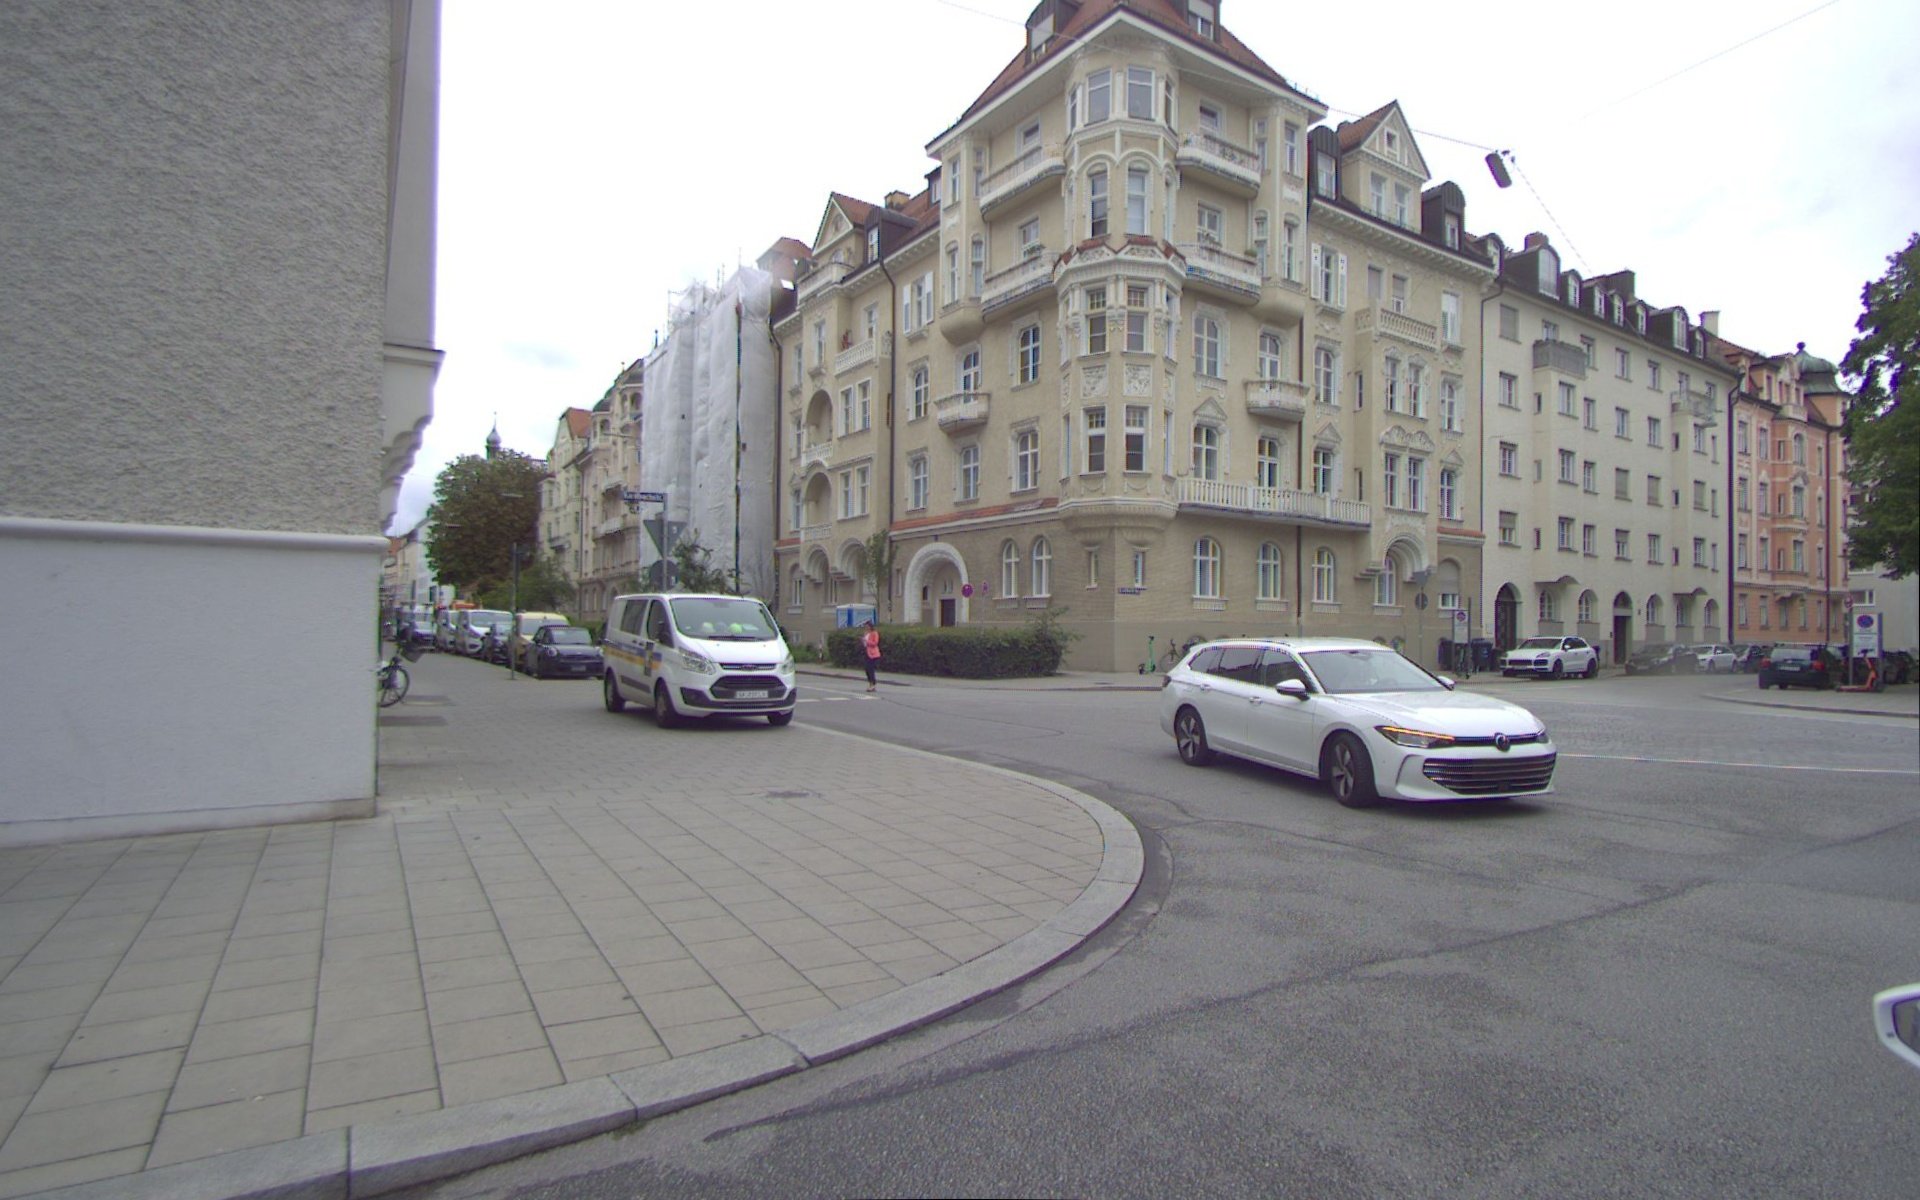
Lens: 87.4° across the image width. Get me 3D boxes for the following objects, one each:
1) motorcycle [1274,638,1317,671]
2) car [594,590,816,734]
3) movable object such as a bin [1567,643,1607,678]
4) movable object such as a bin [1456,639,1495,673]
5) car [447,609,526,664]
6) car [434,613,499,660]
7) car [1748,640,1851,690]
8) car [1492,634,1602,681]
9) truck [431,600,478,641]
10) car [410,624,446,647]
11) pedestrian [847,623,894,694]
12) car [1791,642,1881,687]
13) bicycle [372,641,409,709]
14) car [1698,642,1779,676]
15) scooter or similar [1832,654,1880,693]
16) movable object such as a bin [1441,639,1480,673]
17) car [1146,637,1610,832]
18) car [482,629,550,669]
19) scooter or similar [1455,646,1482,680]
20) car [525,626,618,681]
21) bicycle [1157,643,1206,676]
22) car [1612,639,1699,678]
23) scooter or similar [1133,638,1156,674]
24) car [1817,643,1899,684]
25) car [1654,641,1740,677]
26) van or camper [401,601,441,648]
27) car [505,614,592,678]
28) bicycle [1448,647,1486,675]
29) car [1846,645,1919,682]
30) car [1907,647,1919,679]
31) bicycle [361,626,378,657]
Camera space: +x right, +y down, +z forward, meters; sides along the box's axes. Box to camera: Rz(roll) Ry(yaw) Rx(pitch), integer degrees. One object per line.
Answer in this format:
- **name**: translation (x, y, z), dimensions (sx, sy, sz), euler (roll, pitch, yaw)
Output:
- **motorcycle**: translation (12.461, 2.015, 37.278), dimensions (1.812, 1.191, 0.594), euler (2, -2, -36)
- **car**: translation (-4.181, 0.888, 15.830), dimensions (1.905, 1.905, 4.866), euler (2, -2, -33)
- **movable object such as a bin**: translation (26.612, 2.556, 42.641), dimensions (1.161, 1.444, 1.085), euler (2, -2, -33)
- **movable object such as a bin**: translation (22.452, 2.428, 43.726), dimensions (1.161, 1.444, 1.085), euler (2, -2, -33)
- **car**: translation (-19.252, 1.475, 40.736), dimensions (2.104, 2.119, 4.775), euler (2, -2, -35)
- **car**: translation (-22.561, 1.647, 45.815), dimensions (2.102, 2.020, 4.779), euler (2, -2, -33)
- **car**: translation (27.482, 2.088, 32.823), dimensions (4.386, 1.525, 1.804), euler (2, -3, -40)
- **car**: translation (23.207, 2.255, 39.658), dimensions (4.793, 1.723, 1.962), euler (2, -2, -35)
- **truck**: translation (-48.158, 1.971, 95.594), dimensions (3.156, 3.671, 8.657), euler (2, -2, -32)
- **car**: translation (-32.469, 2.167, 61.277), dimensions (1.678, 1.364, 3.509), euler (2, -2, -32)
- **pedestrian**: translation (-2.142, 1.387, 24.035), dimensions (0.849, 1.657, 0.724), euler (2, -2, -41)
- **car**: translation (31.527, 2.279, 36.117), dimensions (4.199, 1.525, 1.779), euler (2, -3, -40)
- **bicycle**: translation (-9.662, 1.238, 17.011), dimensions (0.486, 1.063, 1.815), euler (2, -2, -31)
- **car**: translation (39.871, 3.014, 51.430), dimensions (4.361, 1.602, 1.964), euler (2, -1, -33)
- **scooter or similar**: translation (26.368, 2.162, 29.580), dimensions (0.984, 1.103, 0.390), euler (0, -1, 29)
- **movable object such as a bin**: translation (21.460, 2.394, 43.080), dimensions (1.161, 1.444, 1.085), euler (2, -2, -33)
- **car**: translation (3.905, 1.164, 10.519), dimensions (1.860, 1.467, 4.875), euler (1, -2, -16)
- **car**: translation (-15.854, 1.723, 35.777), dimensions (1.679, 1.364, 3.508), euler (2, -2, -32)
- **scooter or similar**: translation (18.748, 2.321, 37.051), dimensions (0.458, 1.209, 1.216), euler (1, -1, 5)
- **car**: translation (-10.449, 1.386, 26.884), dimensions (1.678, 1.364, 3.649), euler (2, -2, -32)
- **bicycle**: translation (7.520, 2.006, 34.005), dimensions (1.812, 1.063, 0.559), euler (2, -2, -36)
- **car**: translation (31.709, 2.621, 45.748), dimensions (4.671, 1.637, 1.960), euler (2, -2, -38)
- **scooter or similar**: translation (5.993, 1.819, 32.646), dimensions (0.459, 1.130, 1.215), euler (1, -1, 23)
- **car**: translation (34.978, 2.453, 39.091), dimensions (4.081, 1.525, 1.779), euler (2, -3, -40)
- **car**: translation (35.648, 2.821, 48.549), dimensions (4.361, 1.602, 1.964), euler (2, -1, -33)
- **van or camper**: translation (-35.849, 1.576, 66.739), dimensions (1.977, 2.952, 6.385), euler (2, -2, -30)
- **car**: translation (-13.009, 1.425, 31.630), dimensions (2.003, 1.863, 4.104), euler (2, -2, -30)
- **bicycle**: translation (20.187, 2.417, 39.982), dimensions (1.812, 1.063, 0.559), euler (2, -2, -36)
- **car**: translation (39.371, 2.673, 42.796), dimensions (4.081, 1.525, 1.779), euler (2, -3, -40)
- **car**: translation (48.223, 3.090, 49.336), dimensions (4.078, 1.525, 1.822), euler (2, -3, -38)
- **bicycle**: translation (-21.007, 1.457, 35.738), dimensions (0.486, 1.063, 1.815), euler (2, -2, -31)
